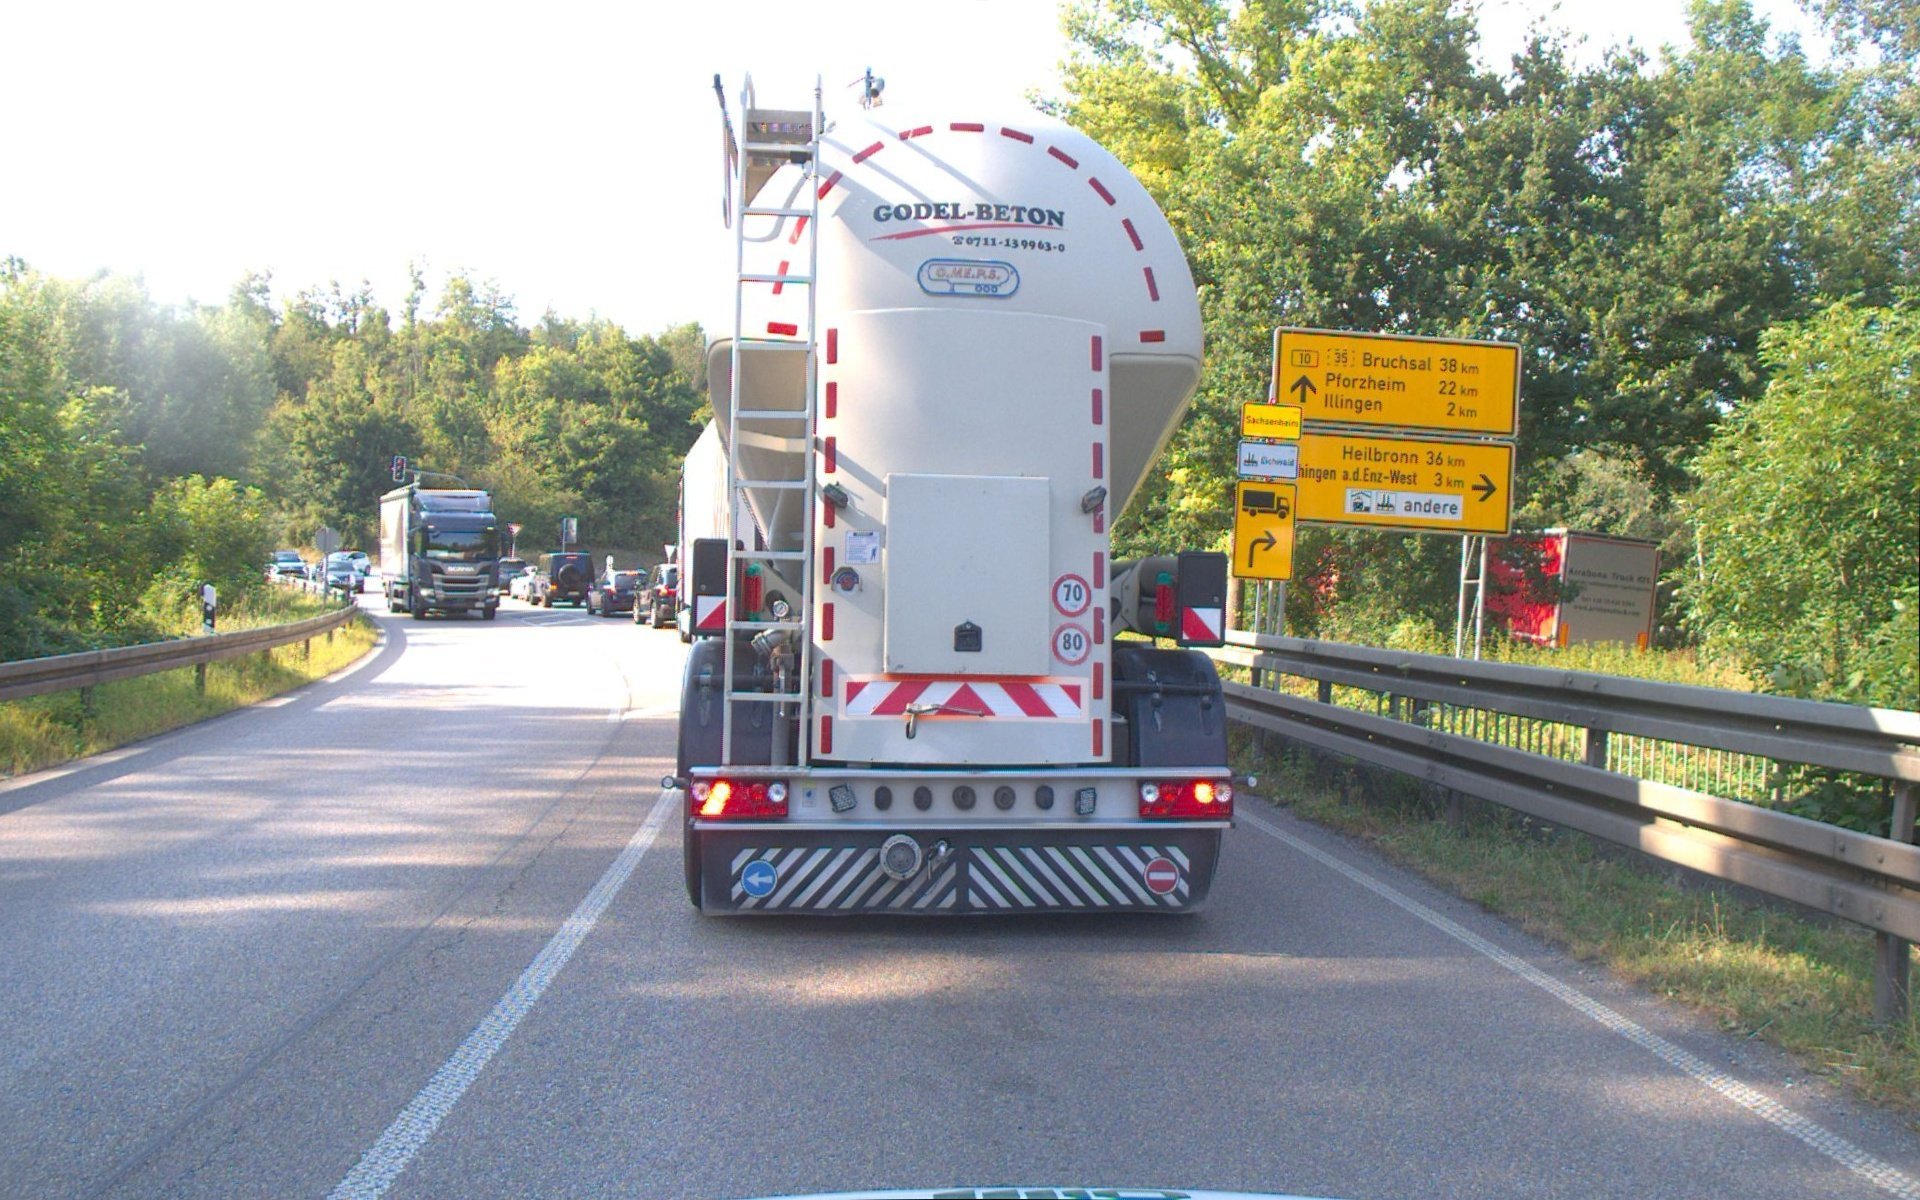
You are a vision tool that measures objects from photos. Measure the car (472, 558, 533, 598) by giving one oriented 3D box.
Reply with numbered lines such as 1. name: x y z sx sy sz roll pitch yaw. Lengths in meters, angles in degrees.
1. car: -20.815 -1.017 75.106 1.846 1.622 3.965 3 0 -27

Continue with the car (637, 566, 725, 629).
1. car: -7.764 -0.117 45.817 1.839 1.656 3.979 0 1 -18

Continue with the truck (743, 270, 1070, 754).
1. truck: -0.810 -0.753 17.207 2.771 4.105 5.884 1 0 -7

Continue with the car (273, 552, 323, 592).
1. car: -33.818 -1.435 84.457 1.847 1.883 3.961 3 0 -29

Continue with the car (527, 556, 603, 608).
1. car: -14.898 -0.716 62.259 1.933 1.883 3.966 -1 2 -26

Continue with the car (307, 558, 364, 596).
1. car: -28.297 -1.052 74.913 1.847 1.584 3.963 3 0 -28

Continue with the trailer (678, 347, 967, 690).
1. trailer: -2.946 -1.131 29.203 3.483 4.592 12.947 2 0 -11

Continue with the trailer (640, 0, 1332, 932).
1. trailer: -0.255 -0.907 11.677 2.830 4.532 9.596 1 0 -5

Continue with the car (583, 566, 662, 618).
1. car: -10.961 -0.281 53.528 1.841 1.592 3.974 0 1 -21

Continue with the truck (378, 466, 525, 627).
1. truck: -16.619 -1.607 53.510 2.975 4.665 10.157 1 0 -26

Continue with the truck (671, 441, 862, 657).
1. truck: -4.387 -1.015 36.150 3.390 4.158 6.470 2 0 -13

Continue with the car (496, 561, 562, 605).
1. car: -18.349 -0.735 70.293 1.846 1.712 3.965 3 0 -27

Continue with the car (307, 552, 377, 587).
1. car: -37.325 -1.836 99.929 1.828 1.883 4.002 3 0 17
